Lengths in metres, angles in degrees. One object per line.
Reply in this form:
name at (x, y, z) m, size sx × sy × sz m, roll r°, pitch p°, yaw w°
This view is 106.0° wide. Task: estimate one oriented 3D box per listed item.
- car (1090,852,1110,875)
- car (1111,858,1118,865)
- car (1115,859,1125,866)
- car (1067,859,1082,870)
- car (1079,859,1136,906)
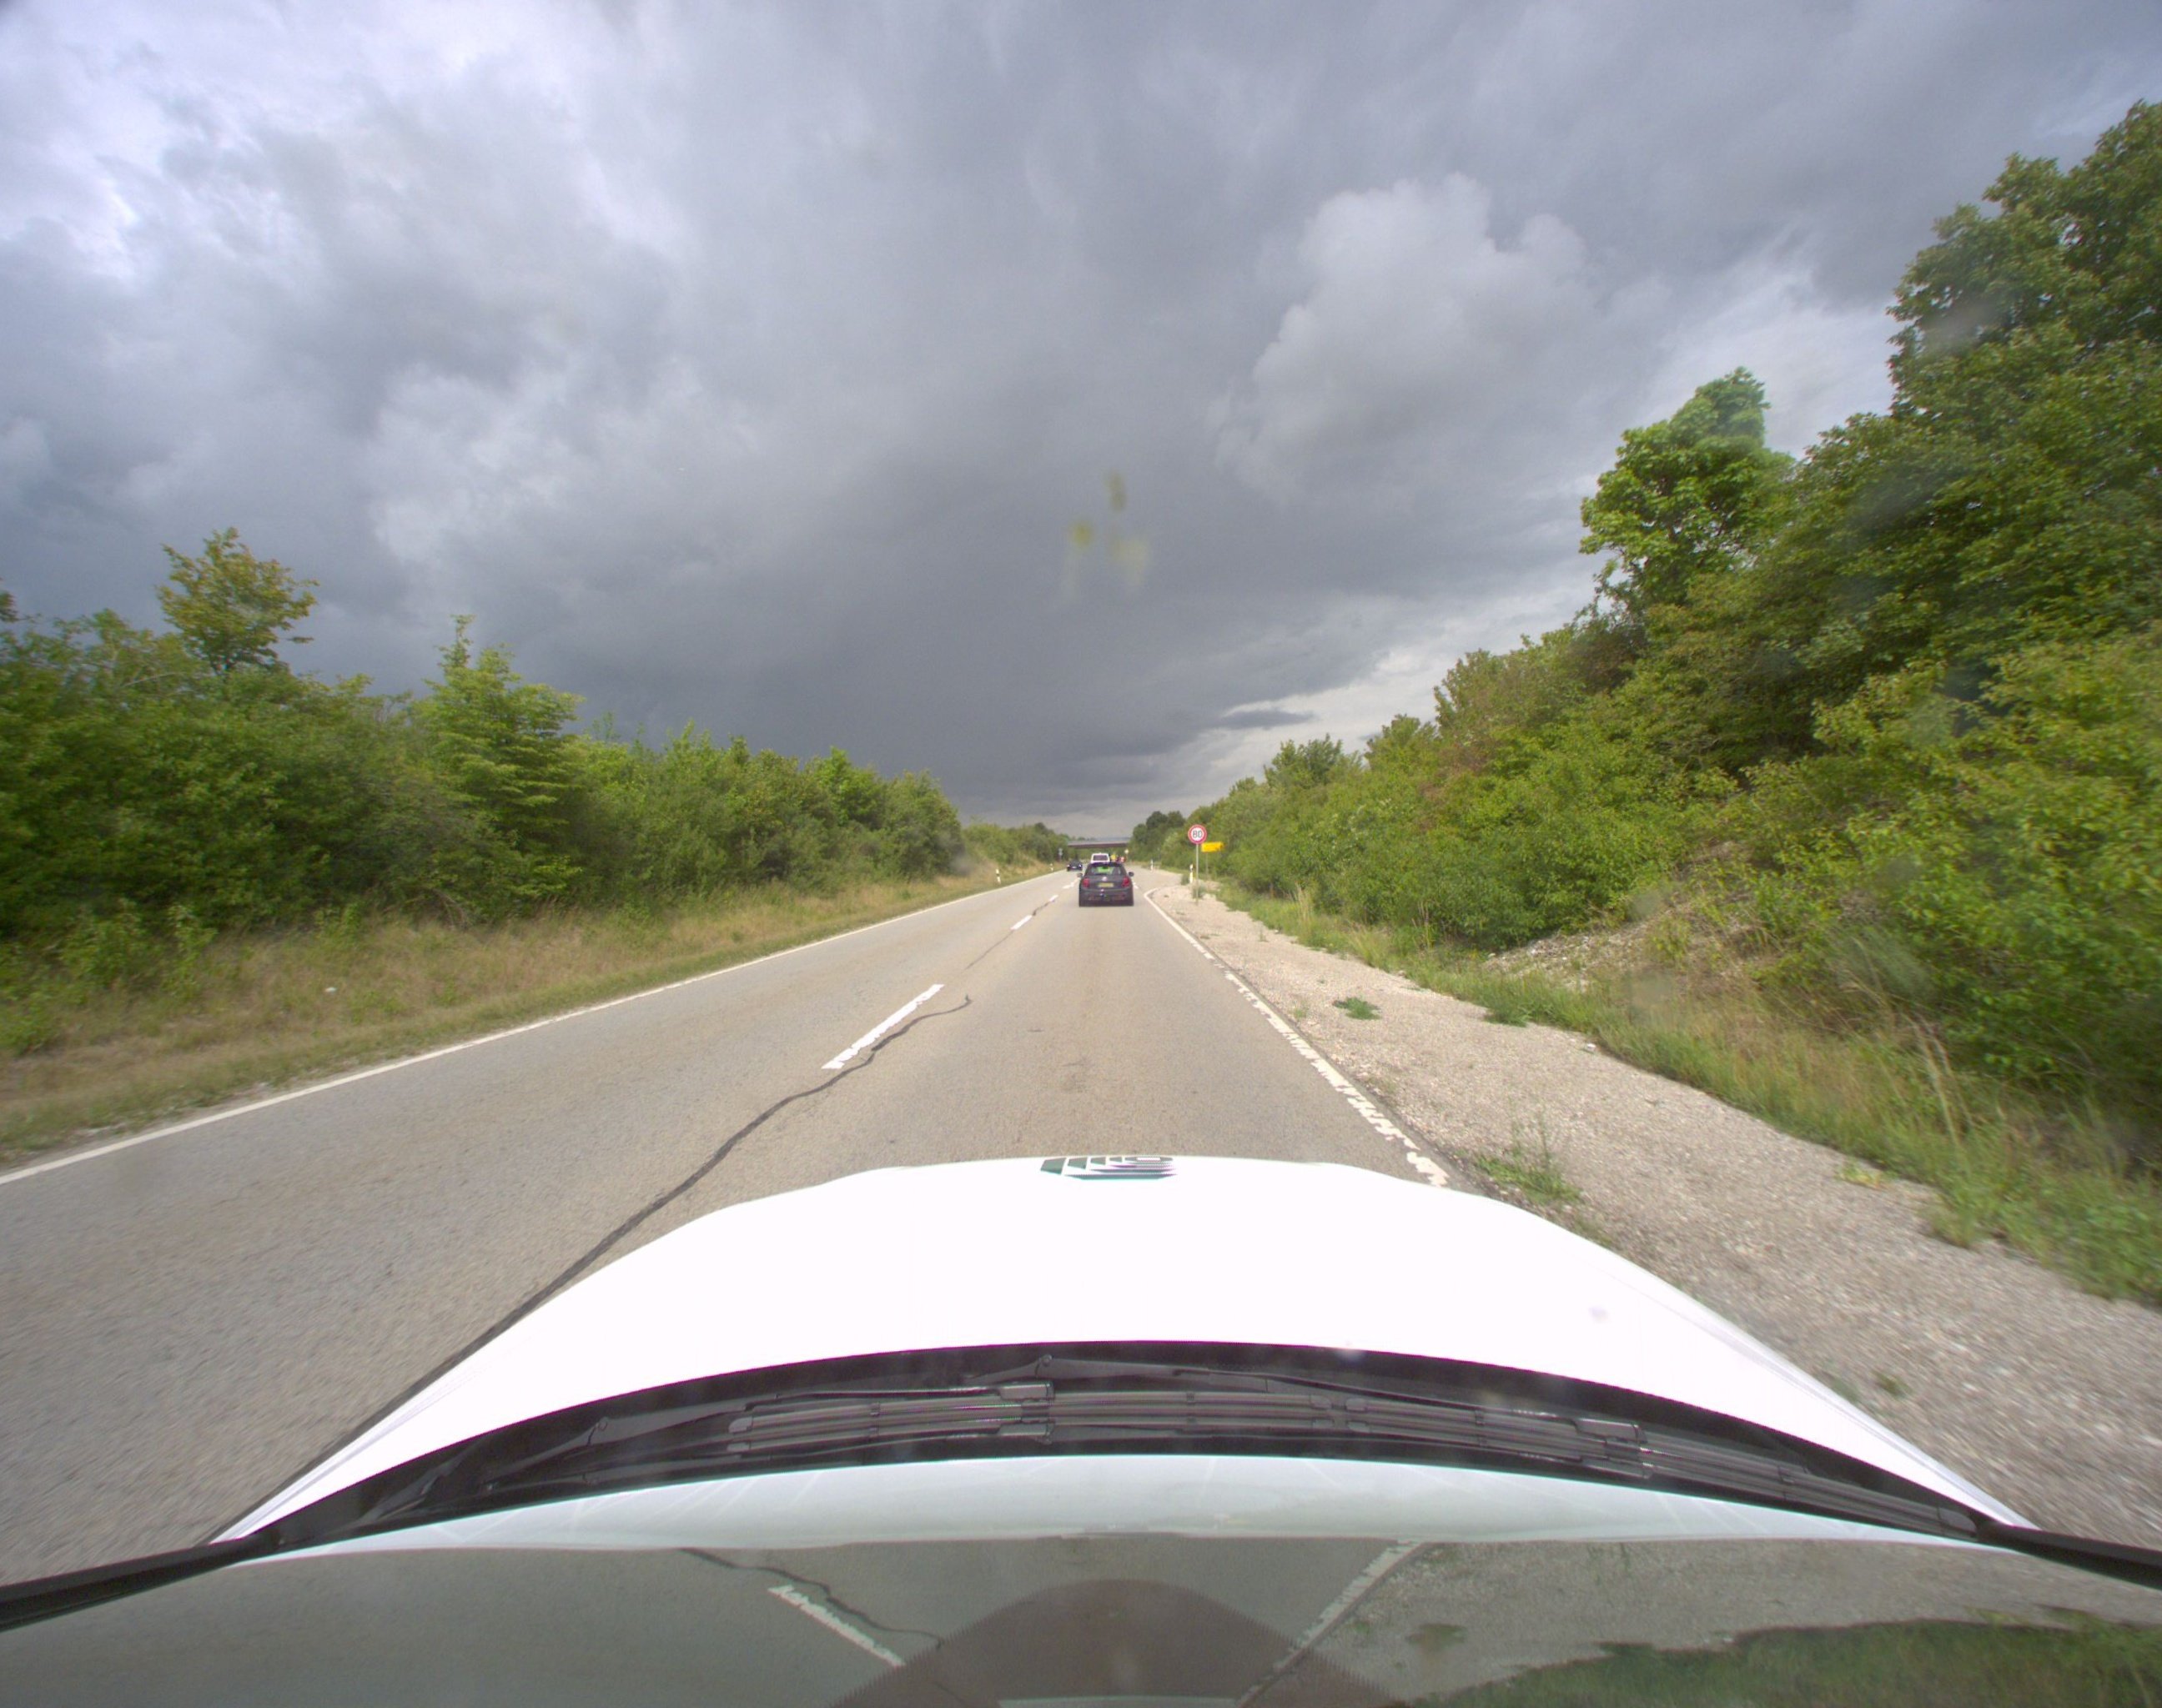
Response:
car at (1.809, 0.896, 76.288) m, size 1.813 × 2.054 × 4.001 m, roll -1°, pitch -1°, yaw 1°
car at (9.224, 2.037, 225.660) m, size 1.775 × 1.706 × 3.999 m, roll -1°, pitch 0°, yaw 0°
car at (8.662, 1.931, 181.524) m, size 1.987 × 1.552 × 3.999 m, roll -1°, pitch 0°, yaw -1°
car at (-0.774, 1.287, 99.823) m, size 1.695 × 1.330 × 4.001 m, roll -2°, pitch -1°, yaw 1°
car at (0.878, 0.903, 27.100) m, size 1.750 × 1.427 × 4.001 m, roll -1°, pitch 0°, yaw 1°
